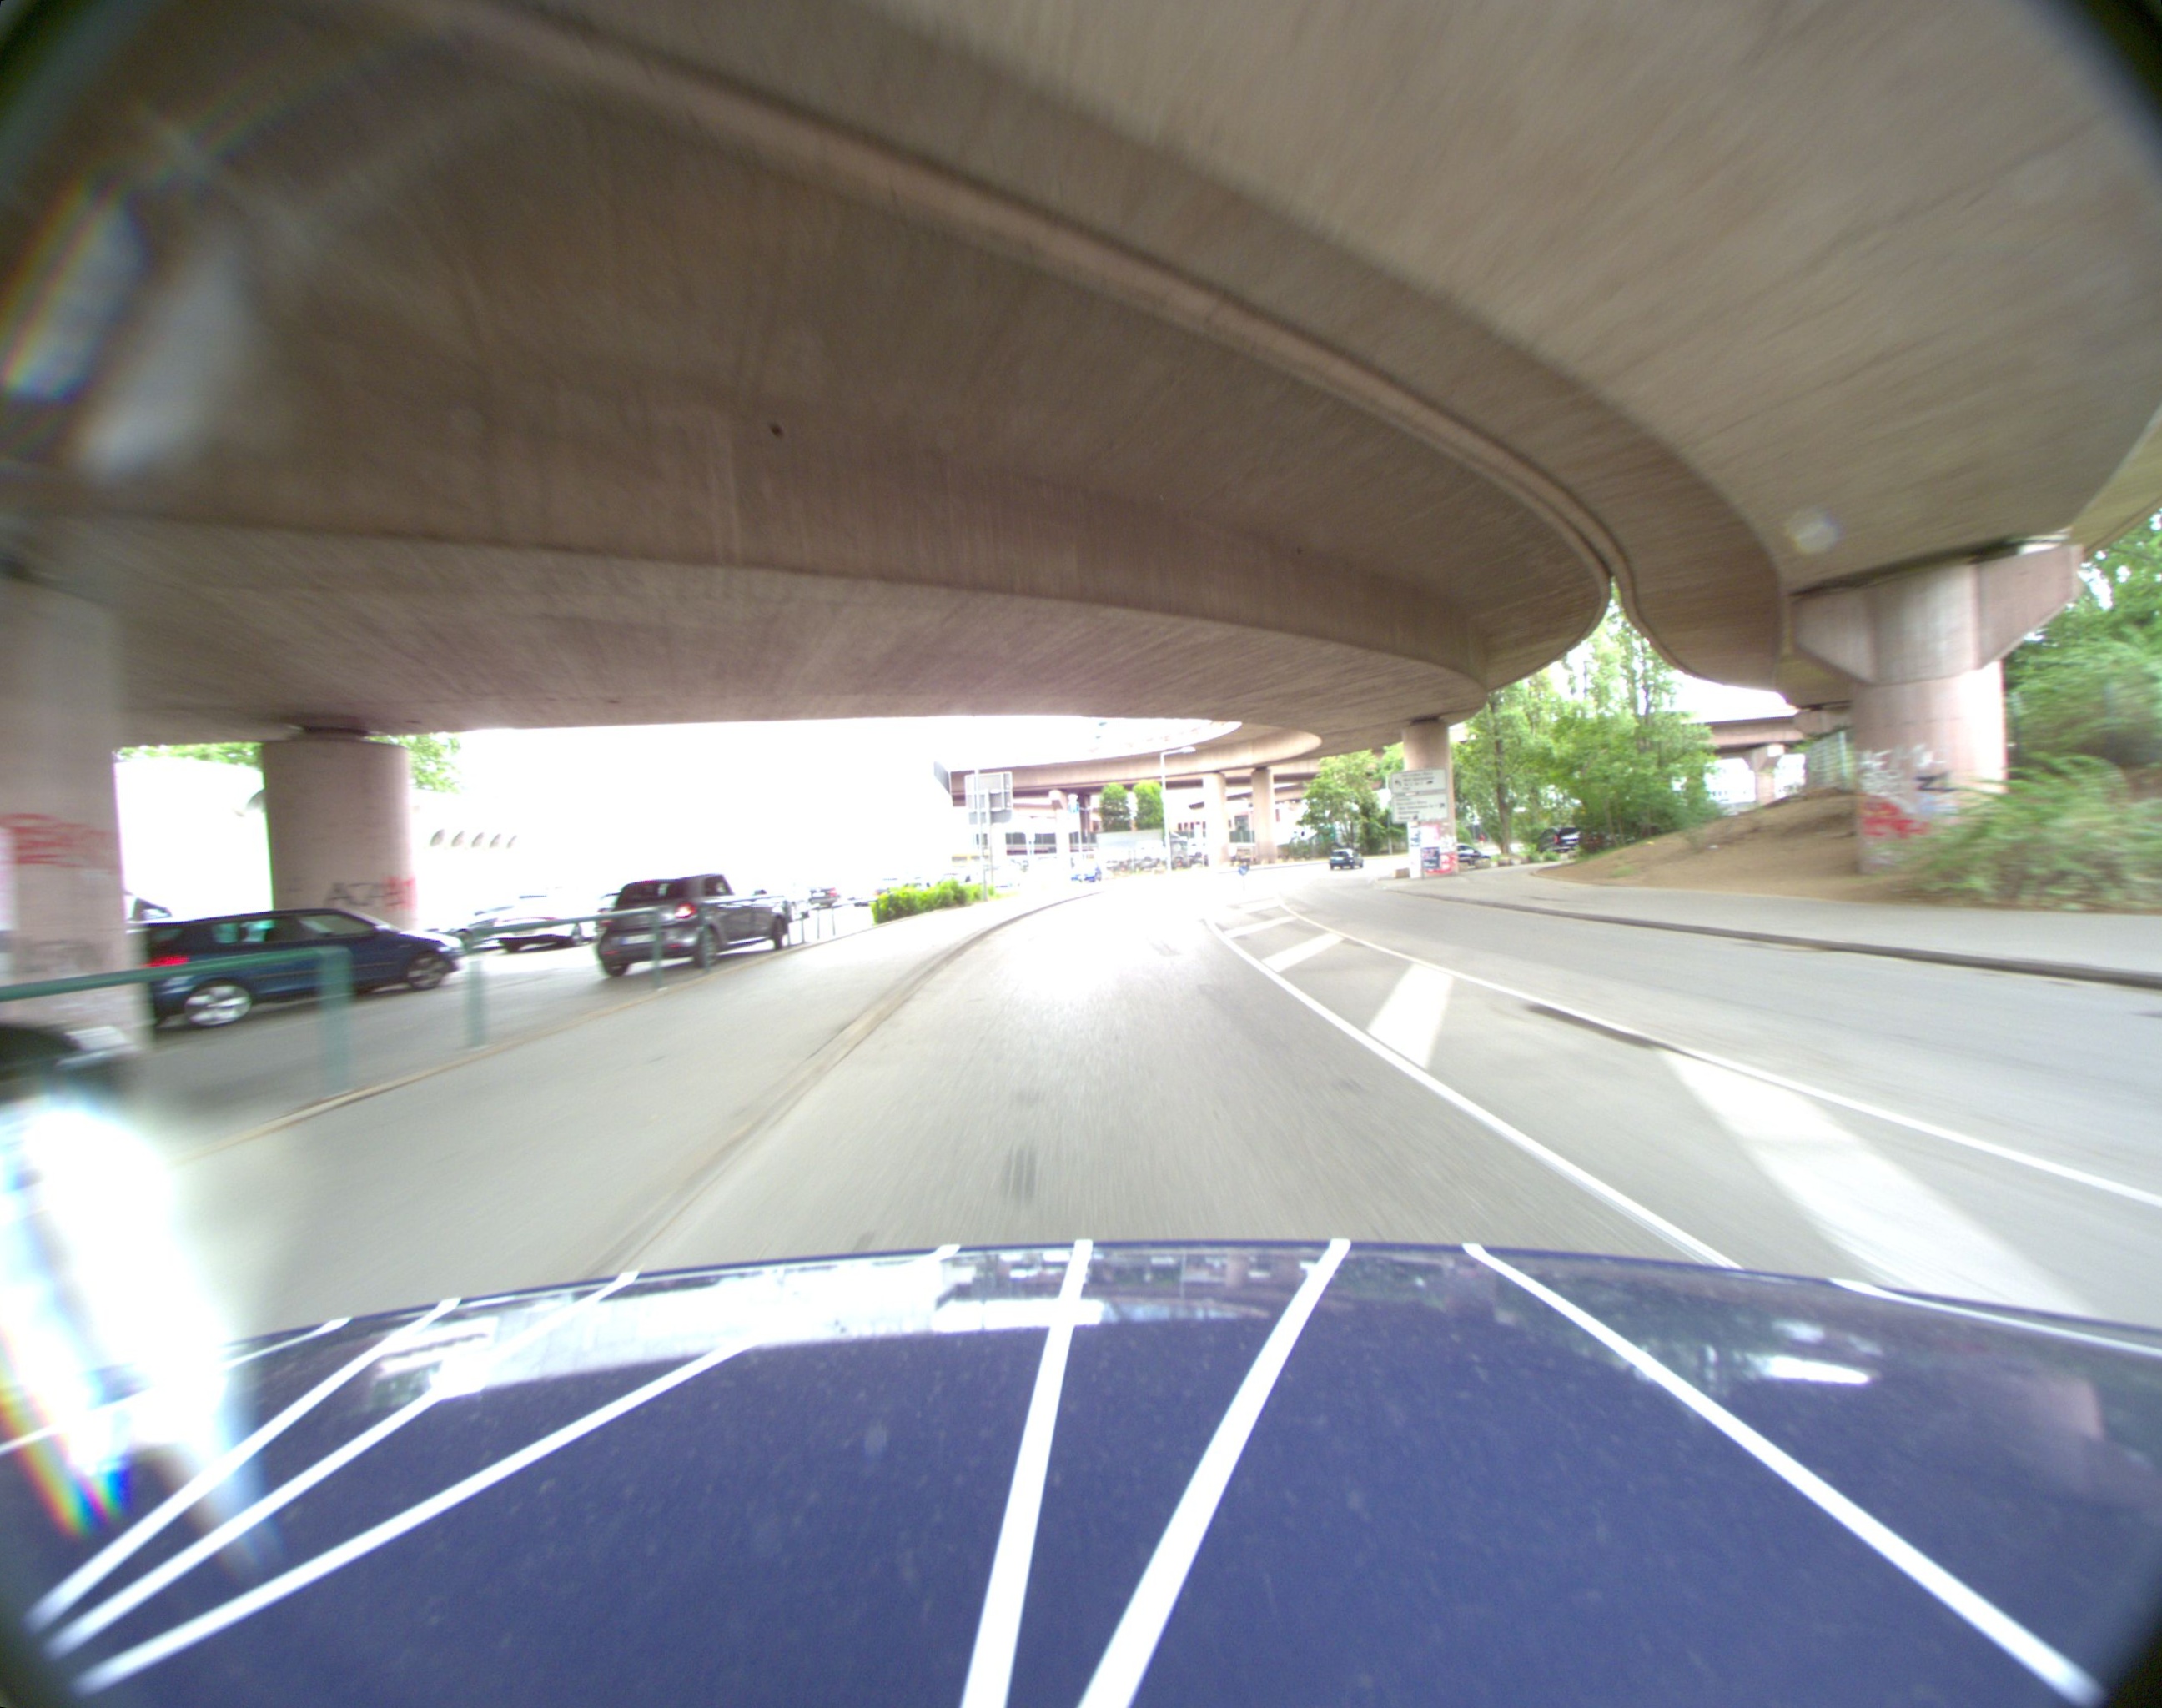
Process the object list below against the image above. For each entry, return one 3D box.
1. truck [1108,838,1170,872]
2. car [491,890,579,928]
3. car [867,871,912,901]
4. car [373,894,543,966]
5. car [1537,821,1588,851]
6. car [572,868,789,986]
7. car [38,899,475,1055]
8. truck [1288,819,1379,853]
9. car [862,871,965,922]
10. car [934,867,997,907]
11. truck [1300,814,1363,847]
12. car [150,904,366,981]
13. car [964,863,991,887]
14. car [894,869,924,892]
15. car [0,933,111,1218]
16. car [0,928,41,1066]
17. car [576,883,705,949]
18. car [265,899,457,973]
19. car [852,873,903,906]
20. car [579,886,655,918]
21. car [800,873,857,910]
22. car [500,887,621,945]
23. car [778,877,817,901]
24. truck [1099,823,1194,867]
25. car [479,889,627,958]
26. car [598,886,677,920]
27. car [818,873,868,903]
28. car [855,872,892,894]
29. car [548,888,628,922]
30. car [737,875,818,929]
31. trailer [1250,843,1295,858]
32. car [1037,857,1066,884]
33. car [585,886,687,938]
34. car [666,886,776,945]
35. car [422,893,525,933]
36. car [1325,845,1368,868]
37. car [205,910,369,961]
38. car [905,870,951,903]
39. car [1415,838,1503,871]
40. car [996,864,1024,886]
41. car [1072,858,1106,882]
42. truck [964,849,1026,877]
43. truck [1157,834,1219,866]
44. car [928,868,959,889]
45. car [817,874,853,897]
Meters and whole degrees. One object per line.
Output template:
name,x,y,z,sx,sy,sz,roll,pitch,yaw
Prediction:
truck,5.549,0.060,71.995,2.452,2.869,6.130,-3,0,43
car,-26.894,2.665,37.571,1.769,1.524,3.973,-3,0,-7
car,-11.310,1.859,45.129,1.839,1.504,4.499,-3,0,-5
car,-17.891,2.105,22.109,1.838,1.583,4.189,-3,0,-8
car,34.458,-1.320,54.520,1.853,1.906,4.979,-3,1,18
car,-6.479,1.097,12.758,1.610,1.524,3.410,-5,0,2
car,-11.683,1.646,11.201,1.788,1.498,3.862,-4,1,15
truck,30.195,-2.139,90.922,10.212,3.478,2.269,-3,2,-5
car,-5.944,1.472,27.516,1.732,1.470,4.254,-3,0,16
car,-4.787,1.345,31.828,1.541,1.470,2.764,-3,0,16
truck,28.827,-2.670,87.640,6.409,3.389,2.270,-3,2,-2
car,-22.972,2.393,21.502,1.838,1.583,4.189,-3,0,-8
car,-7.741,1.540,57.026,1.775,1.578,4.358,-3,0,-6
car,-12.642,1.956,56.012,1.623,1.535,3.097,-3,0,-5
car,-6.328,1.204,2.459,1.610,1.389,3.580,-5,0,2
car,-12.541,1.652,6.941,1.530,1.491,3.372,-5,0,-8
car,-13.144,1.786,22.995,1.838,1.583,4.189,-3,0,-8
car,-20.385,2.243,21.807,1.838,1.583,4.189,-3,0,-8
car,-10.528,1.804,39.627,1.858,1.466,4.684,-3,0,-7
car,-26.212,2.673,43.091,1.839,1.417,4.440,-3,0,-5
car,-12.978,1.866,39.301,1.858,1.618,4.617,-3,0,-7
car,-18.732,2.171,27.633,1.756,1.681,4.429,-3,0,-8
car,-20.131,2.460,54.112,1.776,1.448,4.357,-3,0,-11
truck,7.370,-0.965,86.746,10.132,4.340,3.912,-3,0,-6
car,-15.463,1.968,22.554,1.838,1.583,4.189,-3,0,-8
car,-22.347,2.422,38.470,1.785,1.384,4.433,-3,0,-7
car,-13.999,1.952,45.003,1.839,1.504,4.499,-3,0,-5
car,-15.049,2.089,55.275,1.775,1.375,4.359,-3,0,-5
car,-24.879,2.532,38.488,1.769,1.384,3.974,-3,0,-7
car,-11.350,1.737,28.742,1.745,1.665,4.467,-3,0,-8
trailer,19.053,-0.352,75.502,4.388,1.324,1.602,-4,2,-31
car,-2.224,1.227,58.938,1.892,1.945,4.680,-3,0,1
car,-16.286,2.069,28.076,1.756,1.547,4.085,-3,0,-8
car,-11.025,1.832,23.594,1.838,1.413,4.189,-3,0,-8
car,-29.363,2.795,36.944,1.769,1.524,4.486,-3,0,-7
car,19.267,0.161,55.065,1.677,1.422,4.007,-3,0,37
car,-28.014,2.830,27.029,1.709,1.298,4.258,-3,0,-8
car,-8.054,1.673,40.343,1.858,1.466,4.685,-3,0,-5
car,20.444,0.015,41.077,4.780,1.422,1.825,-3,-2,-30
car,-5.290,1.515,57.231,1.775,1.448,4.554,-3,0,-2
car,0.696,1.201,58.776,1.773,1.625,4.689,-3,0,11
truck,-10.034,1.033,89.499,6.926,2.915,3.050,-3,0,-2
truck,10.241,-0.404,71.883,2.418,2.728,7.249,-3,0,37
car,-10.002,1.755,55.603,1.775,1.375,4.359,-3,0,-5
car,-17.579,2.212,54.470,1.776,1.448,4.357,-3,0,-11
